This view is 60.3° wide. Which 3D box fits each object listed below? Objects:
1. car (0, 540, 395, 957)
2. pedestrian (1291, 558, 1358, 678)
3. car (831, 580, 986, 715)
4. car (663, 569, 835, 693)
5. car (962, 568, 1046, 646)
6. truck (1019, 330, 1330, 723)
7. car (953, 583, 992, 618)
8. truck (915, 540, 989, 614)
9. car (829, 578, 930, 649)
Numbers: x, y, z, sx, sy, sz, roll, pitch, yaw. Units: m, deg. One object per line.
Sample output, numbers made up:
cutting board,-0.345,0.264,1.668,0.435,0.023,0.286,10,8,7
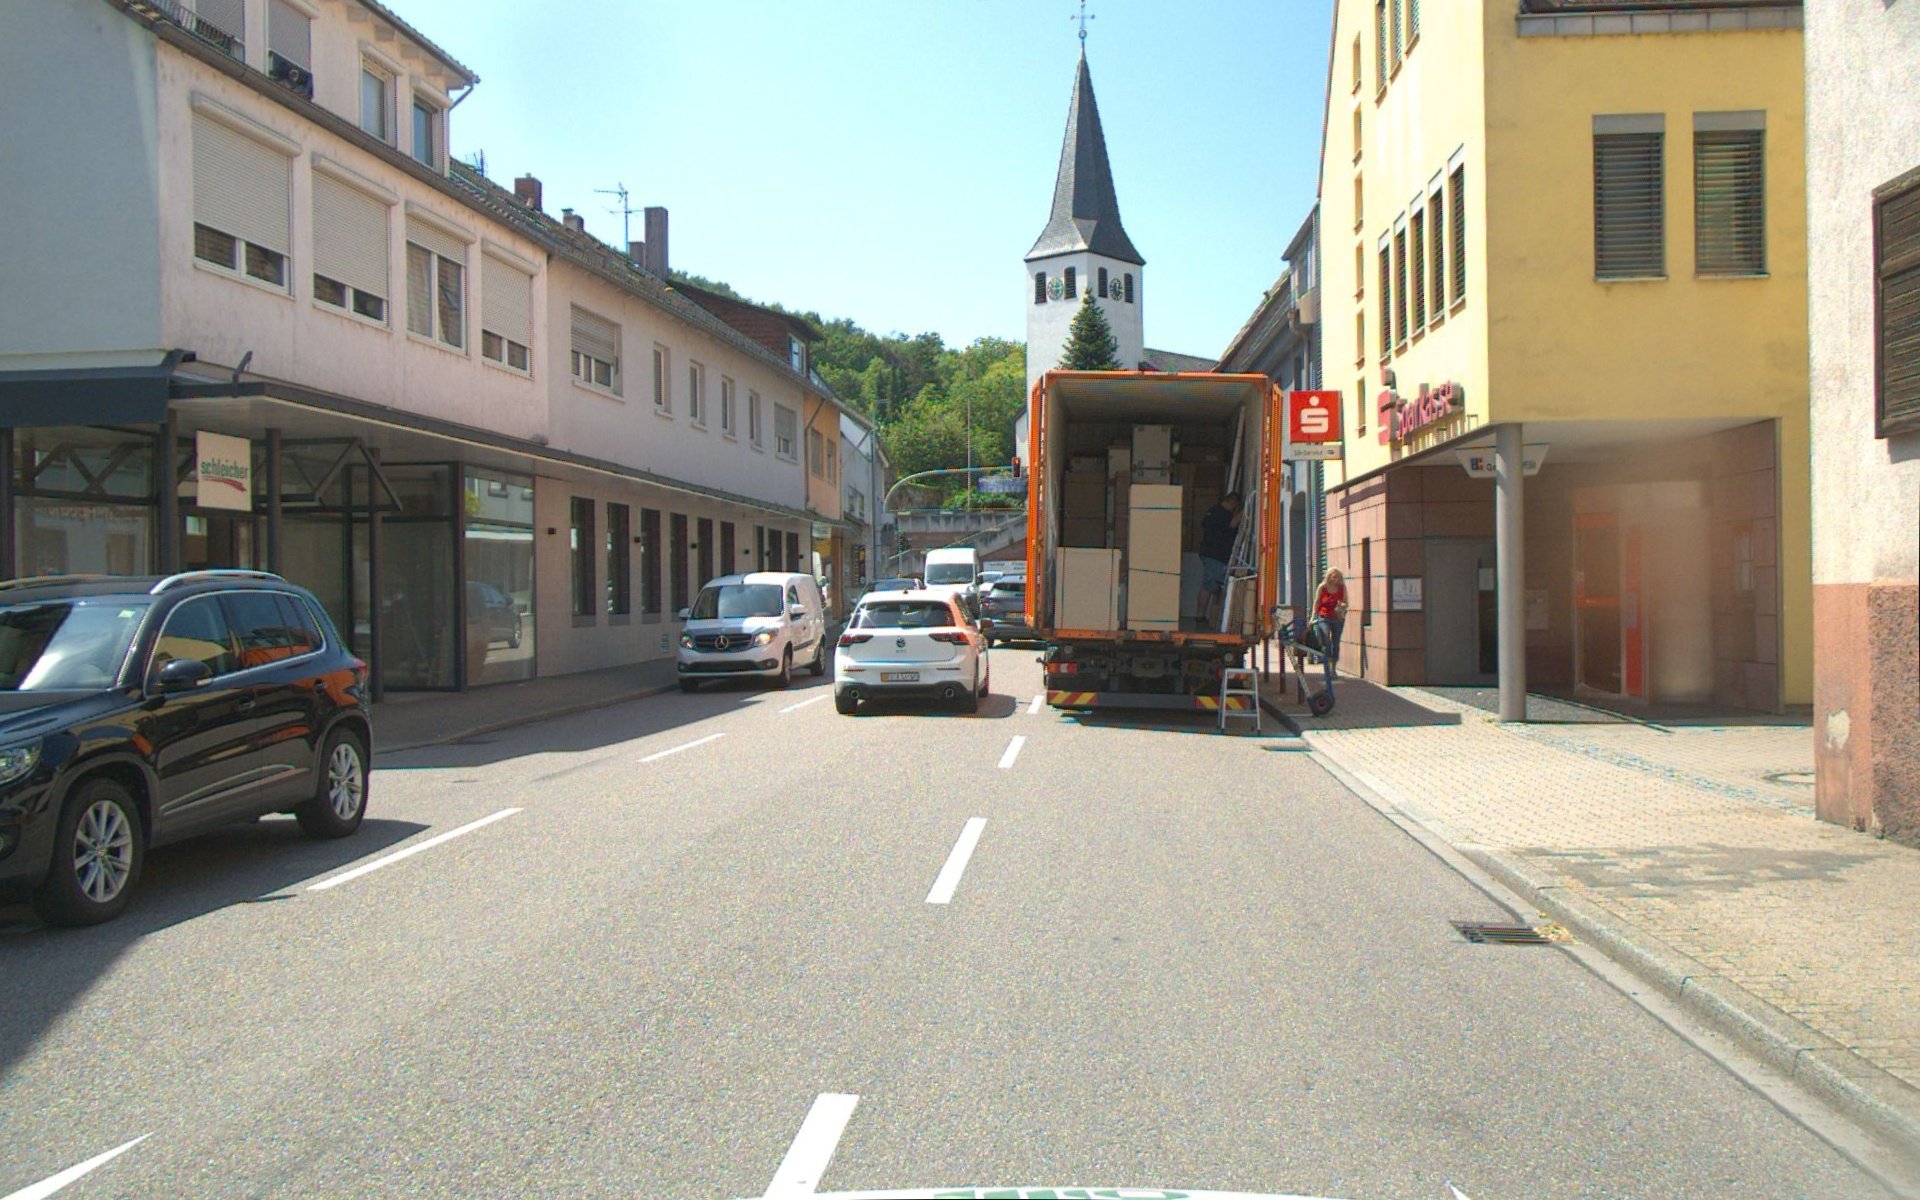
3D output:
car,-4.685,0.602,8.925,1.656,1.728,4.114,-2,1,2
pedestrian,5.570,0.279,25.287,0.753,1.773,0.870,-2,-1,-2
car,-0.597,0.570,21.048,1.778,1.546,3.999,0,-1,0
car,-3.375,0.447,27.370,1.763,1.811,4.708,-2,0,5
car,0.959,0.176,38.246,1.778,1.657,3.999,-2,-1,0
truck,2.551,-0.766,23.063,3.297,4.243,9.521,-2,-1,2
car,0.639,0.047,78.465,1.725,1.524,4.001,-2,-1,2
truck,-0.223,-0.791,61.207,2.073,2.517,5.740,-2,-1,6
car,-2.000,0.348,42.326,1.951,1.680,4.002,-2,-1,6
